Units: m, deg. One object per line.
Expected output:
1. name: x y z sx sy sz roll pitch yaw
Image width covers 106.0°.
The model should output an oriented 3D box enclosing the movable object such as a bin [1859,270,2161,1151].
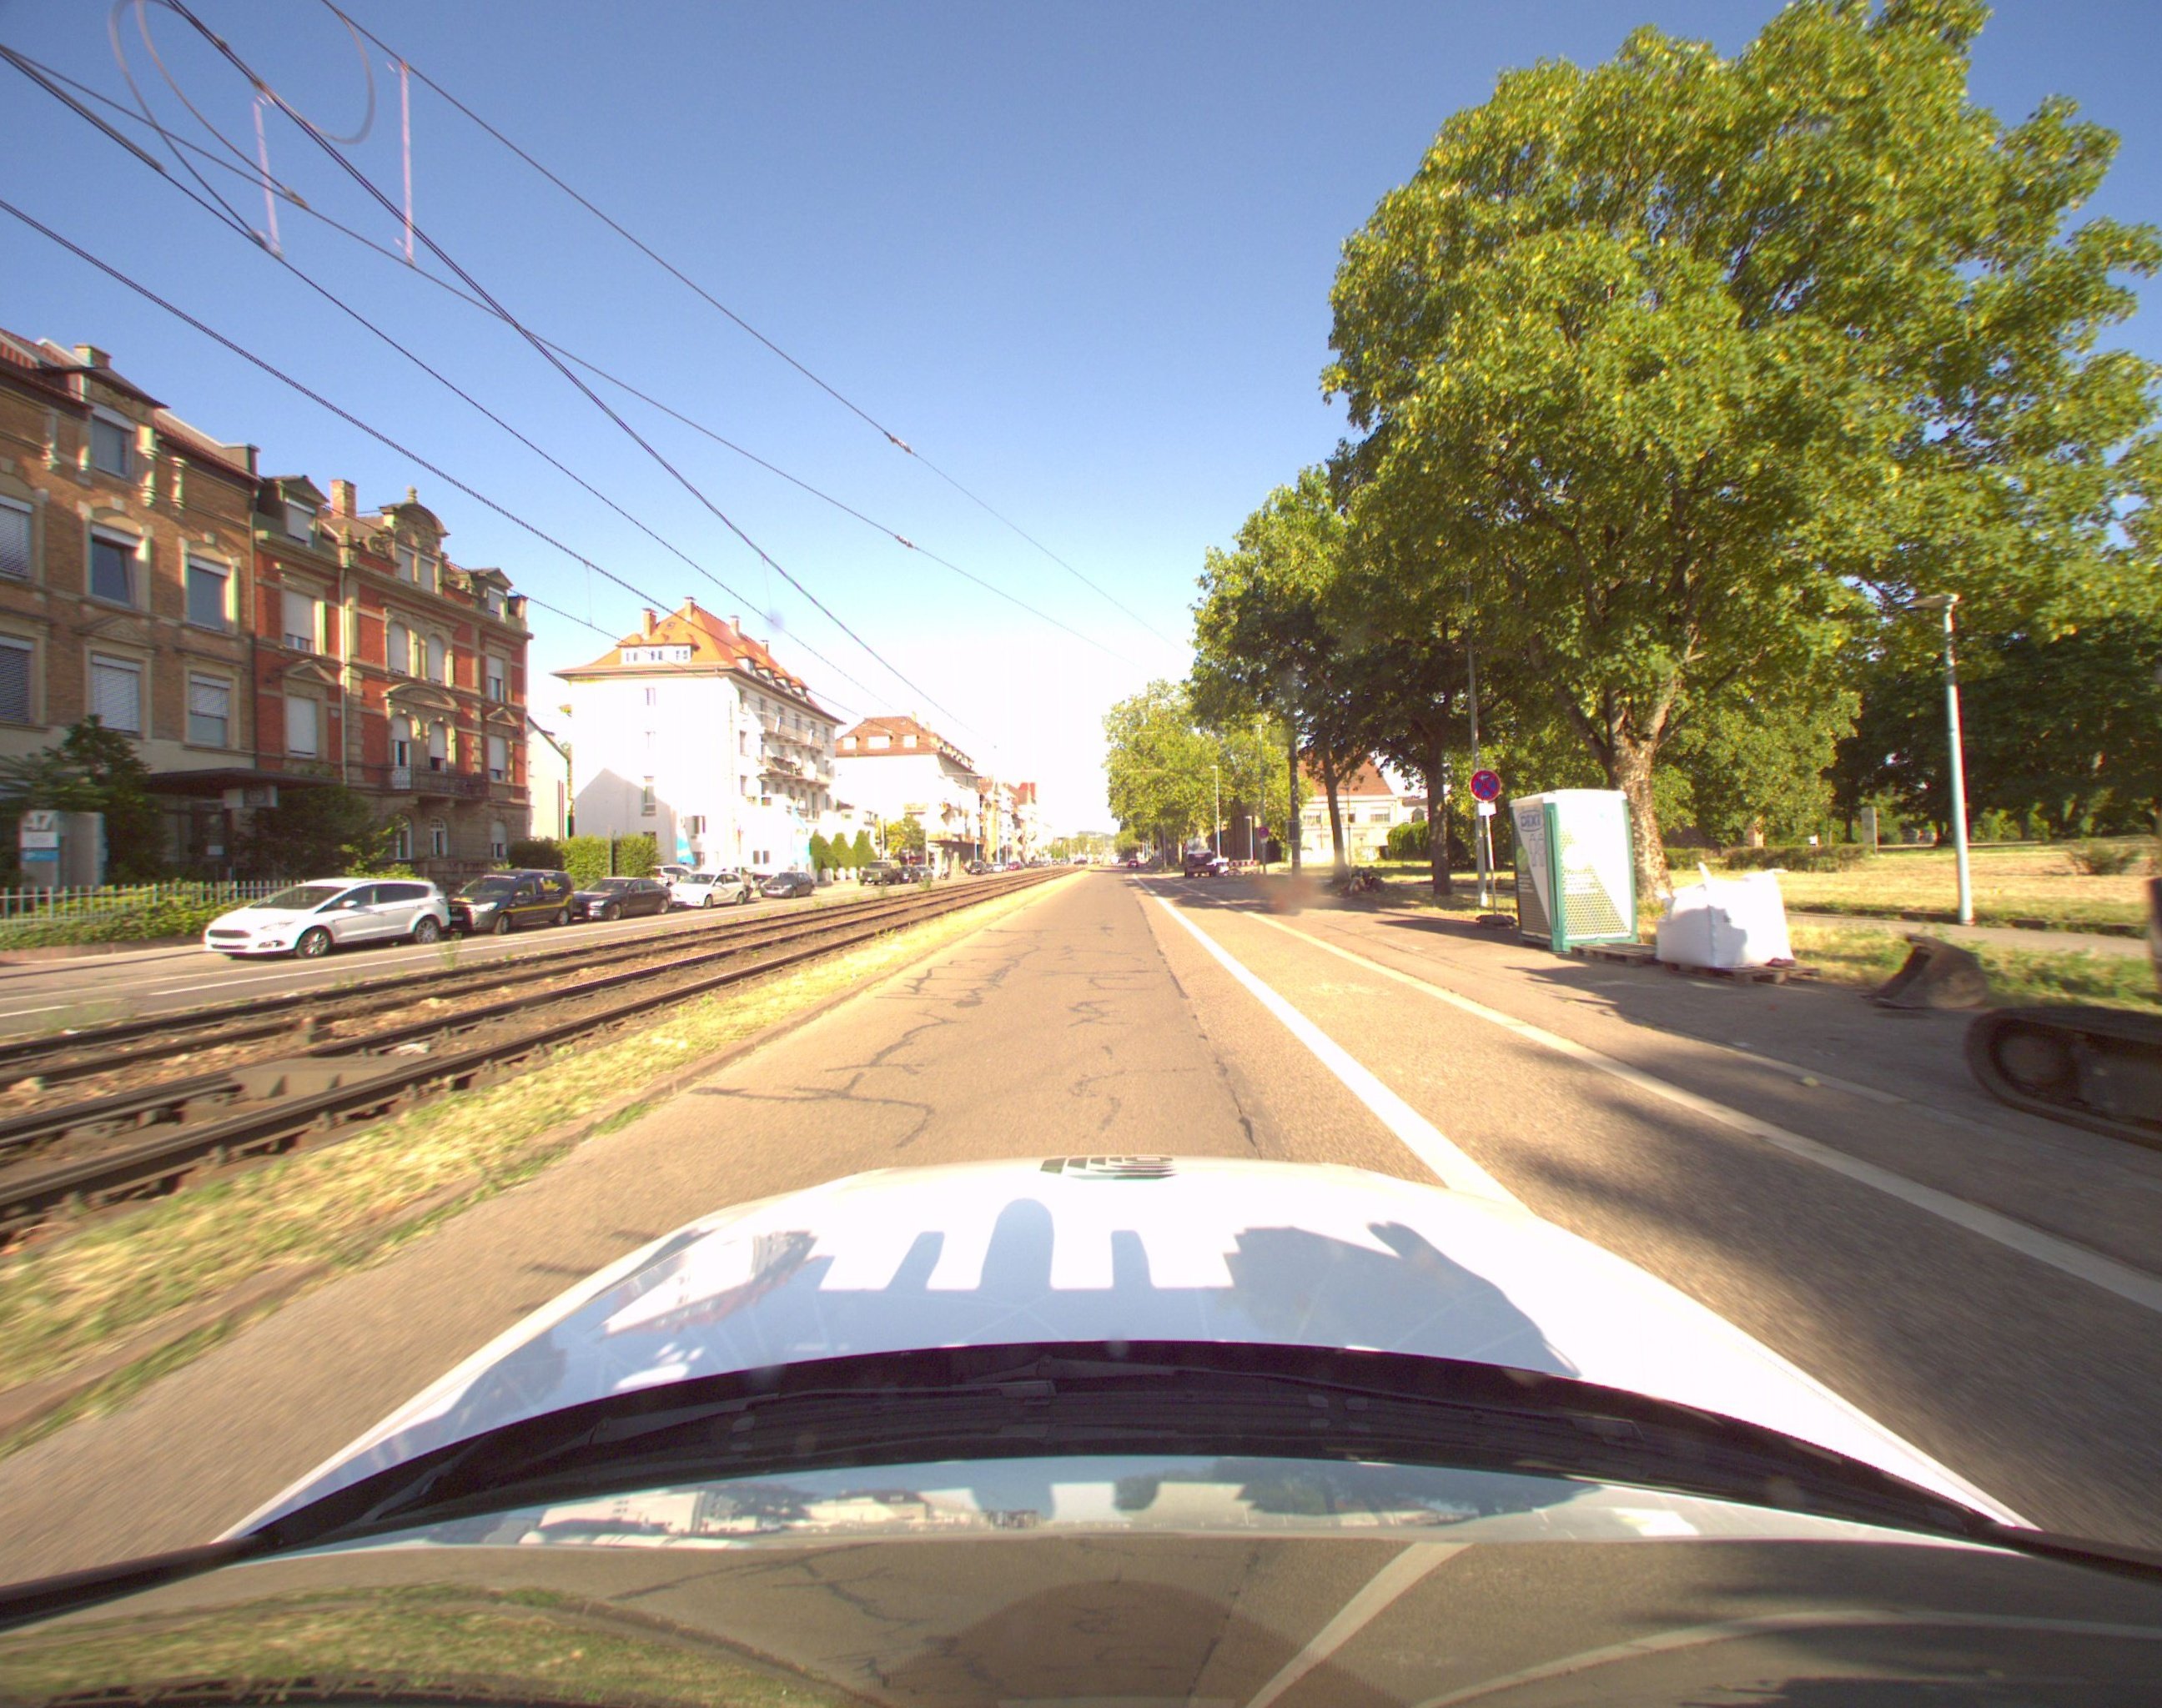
1. movable object such as a bin: 6.544 -0.740 1.185 3.327 3.976 7.598 -5 -1 0

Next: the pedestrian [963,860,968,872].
1. pedestrian: -16.078 1.648 113.400 0.586 1.697 0.858 0 -1 4

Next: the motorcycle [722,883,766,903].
1. motorcycle: -16.799 1.942 40.656 0.820 0.954 2.160 0 -1 16

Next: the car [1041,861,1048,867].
1. car: -9.478 2.646 212.500 1.789 1.510 3.997 2 0 -2

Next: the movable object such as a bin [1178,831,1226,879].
1. movable object such as a bin: 8.899 0.082 60.646 2.732 3.145 7.226 -5 0 3

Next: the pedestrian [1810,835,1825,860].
1. pedestrian: 42.650 -0.386 47.160 0.578 1.419 0.344 -2 -1 -20

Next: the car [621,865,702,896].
1. car: -23.772 1.513 46.368 1.894 1.655 4.569 -2 -2 6

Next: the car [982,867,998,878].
1. car: -13.252 2.675 118.517 1.629 1.469 4.160 2 0 2

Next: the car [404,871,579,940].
1. car: -17.322 1.438 24.261 1.914 1.781 4.498 0 0 0

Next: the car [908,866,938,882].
1. car: -14.806 1.850 76.532 1.786 1.510 4.004 0 -1 4

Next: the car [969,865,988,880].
1. car: -13.526 2.448 107.771 1.855 1.786 4.403 0 0 1

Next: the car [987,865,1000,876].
1. car: -13.317 2.468 124.240 1.630 1.468 3.983 0 2 -1

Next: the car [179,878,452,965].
1. car: -17.653 1.465 19.194 1.913 1.683 4.630 0 0 3

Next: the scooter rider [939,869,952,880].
1. scooter rider: -13.856 2.060 83.300 0.966 1.089 0.813 -3 -1 33

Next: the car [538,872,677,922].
1. car: -16.971 1.483 29.555 1.912 1.561 4.848 0 0 5

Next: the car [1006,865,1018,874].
1. car: -12.301 2.743 145.035 1.829 1.391 4.032 2 -1 -2

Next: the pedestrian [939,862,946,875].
1. pedestrian: -18.242 1.866 107.094 0.636 1.661 0.955 0 -1 4

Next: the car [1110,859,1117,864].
1. car: 9.413 2.223 235.716 1.787 1.510 4.001 0 -1 2

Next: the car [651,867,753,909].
1. car: -16.602 1.442 36.006 1.912 1.694 4.848 0 0 5

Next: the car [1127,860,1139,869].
1. car: 8.570 1.736 134.582 1.826 1.391 4.160 -1 -1 2

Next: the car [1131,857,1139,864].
1. car: 12.599 1.587 190.902 1.787 1.510 4.001 -1 -1 2

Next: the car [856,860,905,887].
1. car: -15.808 1.523 64.560 2.068 2.010 5.598 0 0 4

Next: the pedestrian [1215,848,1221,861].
1. pedestrian: 18.374 0.106 109.226 0.606 1.681 0.636 -6 -1 0

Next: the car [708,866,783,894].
1. car: -22.324 1.722 54.248 4.101 1.633 1.958 -2 1 11

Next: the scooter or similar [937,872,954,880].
1. scooter or similar: -13.885 2.240 83.318 1.549 0.770 0.813 -3 -1 33

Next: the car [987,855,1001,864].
1. car: -14.190 0.914 133.021 1.628 1.469 4.162 0 0 3

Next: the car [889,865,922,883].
1. car: -15.211 1.734 70.781 1.628 1.507 4.163 0 -1 4

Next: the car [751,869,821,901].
1. car: -16.191 1.674 44.967 1.914 1.461 4.842 3 0 1

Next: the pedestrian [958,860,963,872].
1. pedestrian: -16.779 1.645 113.387 0.586 1.697 0.858 0 -1 4
